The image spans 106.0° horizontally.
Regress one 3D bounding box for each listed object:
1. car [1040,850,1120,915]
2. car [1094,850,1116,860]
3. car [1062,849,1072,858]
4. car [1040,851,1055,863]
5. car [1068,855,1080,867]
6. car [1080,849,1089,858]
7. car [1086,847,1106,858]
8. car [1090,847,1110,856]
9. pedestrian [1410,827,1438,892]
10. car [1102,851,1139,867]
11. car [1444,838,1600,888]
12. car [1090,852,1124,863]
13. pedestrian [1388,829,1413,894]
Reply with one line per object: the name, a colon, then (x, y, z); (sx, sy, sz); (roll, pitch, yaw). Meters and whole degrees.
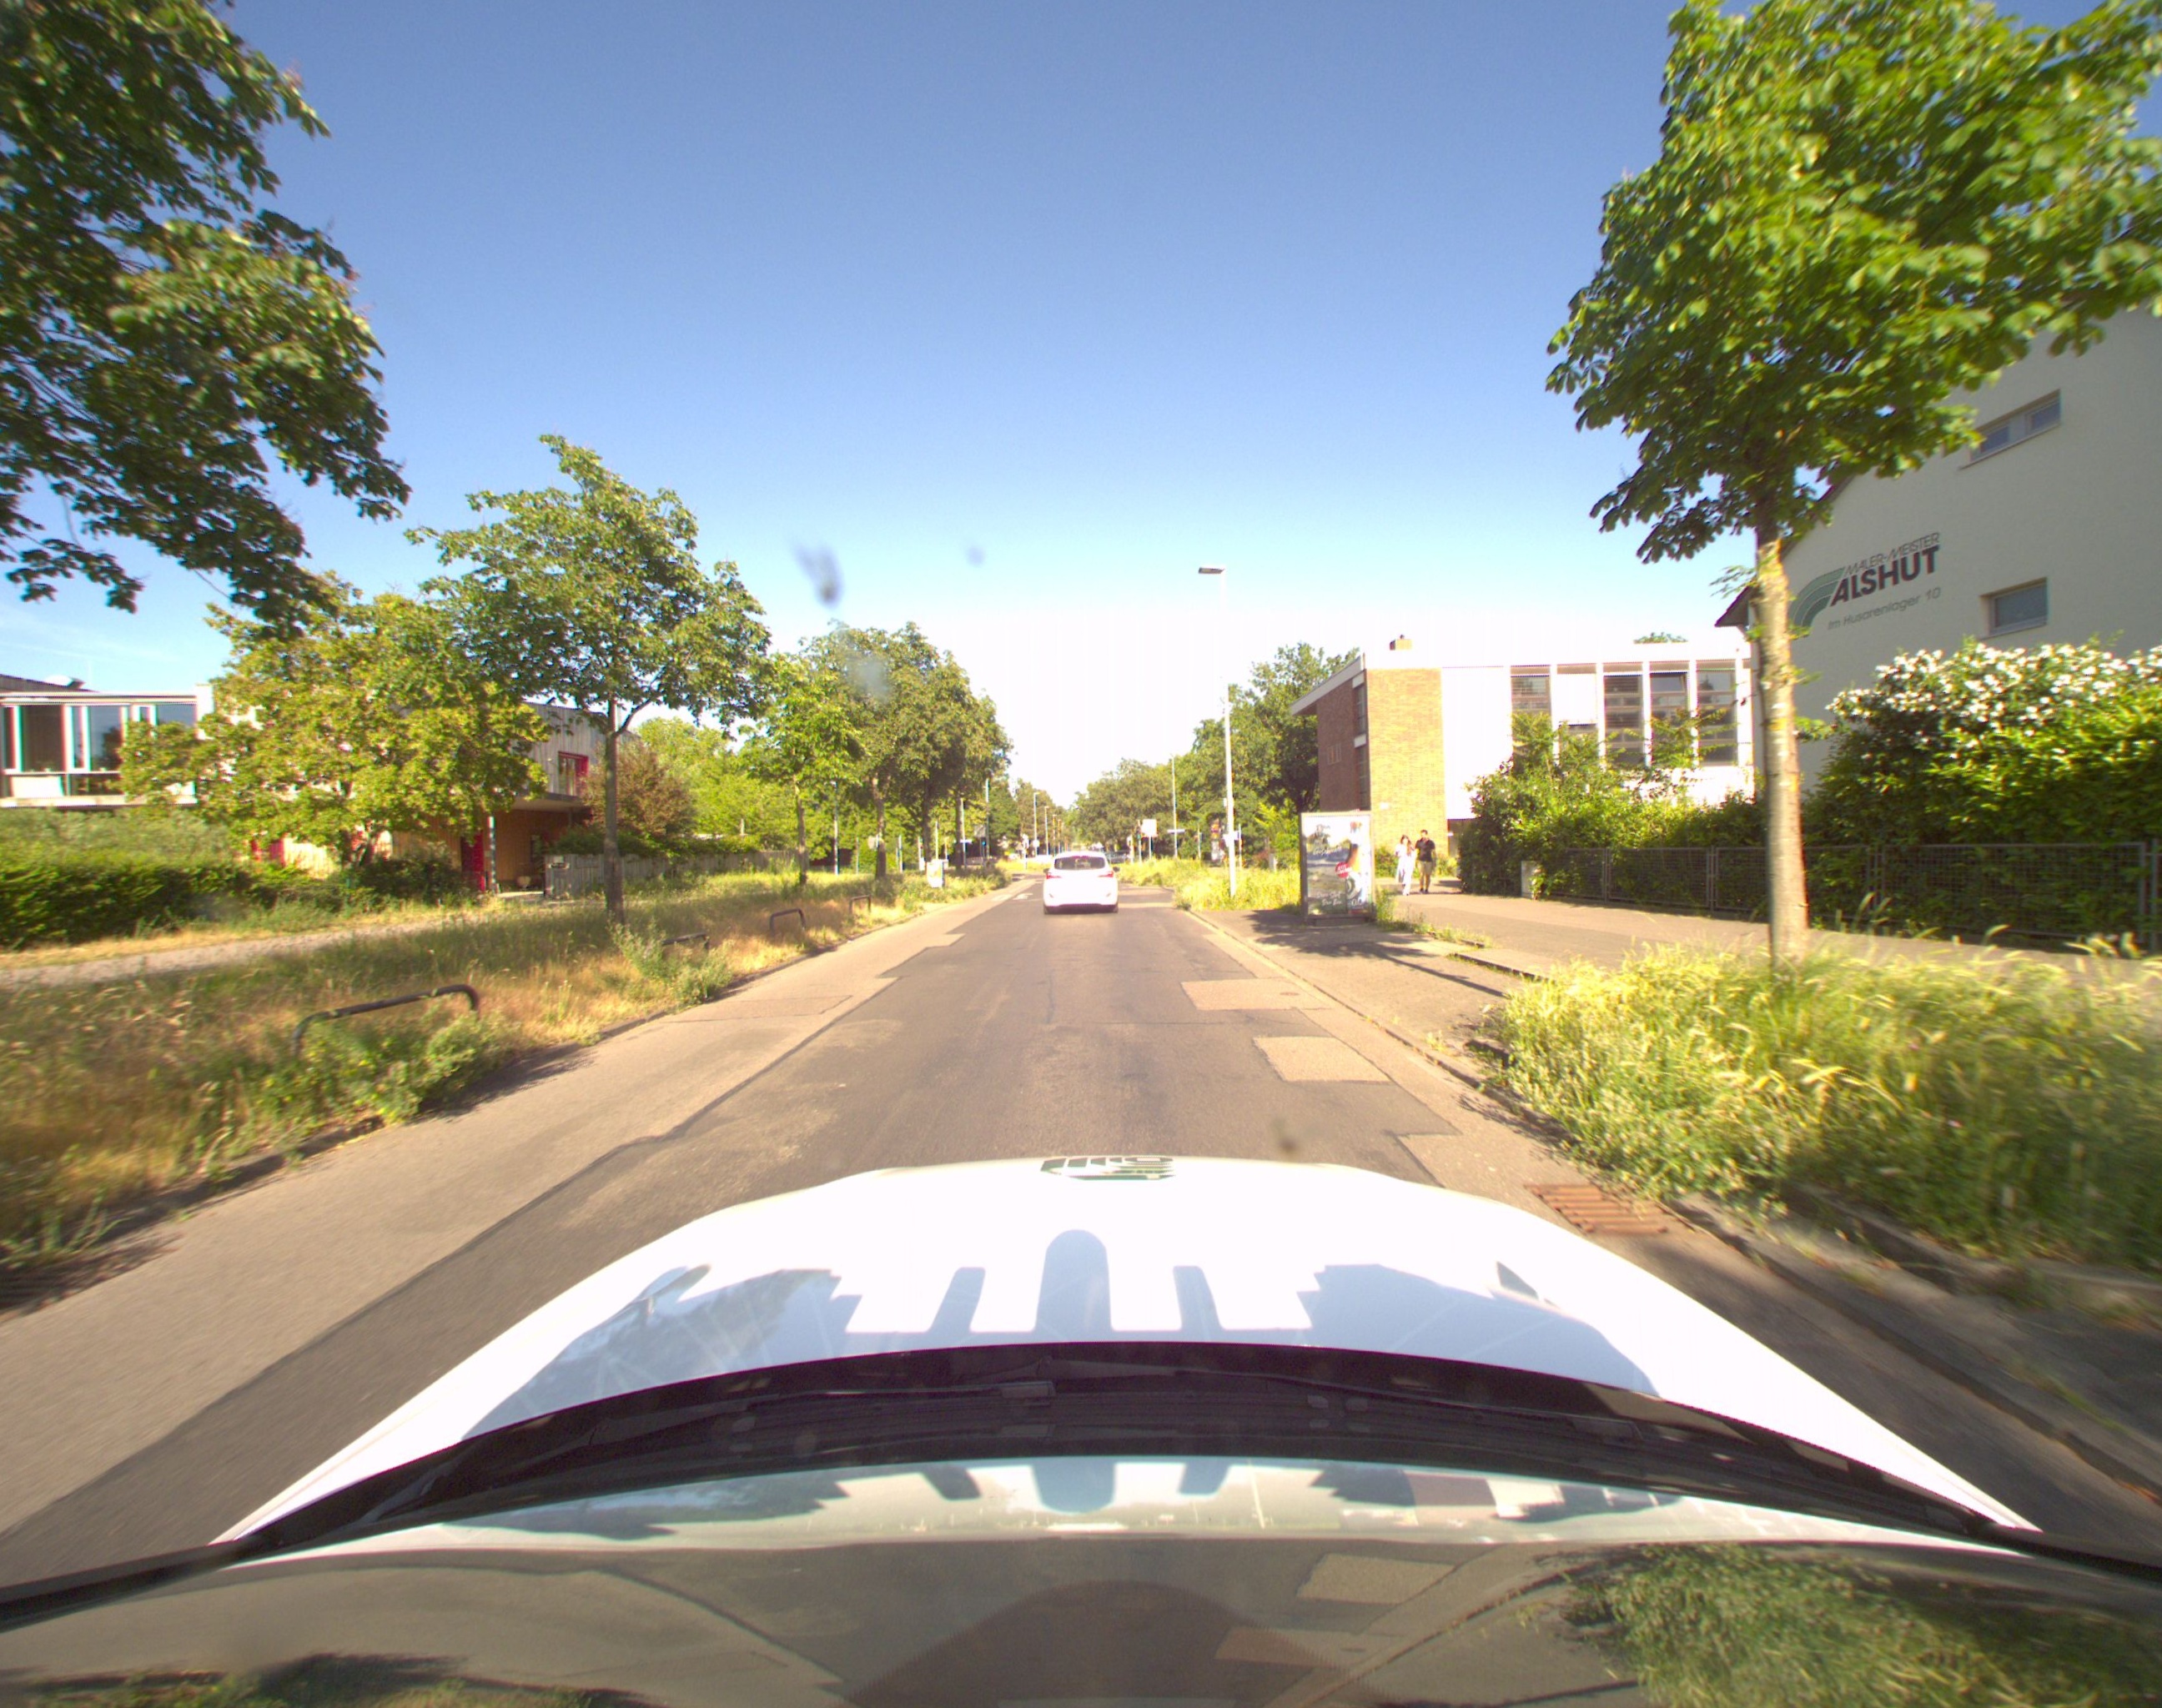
car: (-0.013, 0.642, 20.632); (1.784, 1.463, 3.963); (-1, 0, 0)
car: (4.272, 0.128, 143.081); (3.807, 1.684, 1.863); (-1, 0, 0)
car: (-3.051, -0.034, 173.378); (1.987, 1.816, 4.000); (-1, 0, 0)
car: (-5.128, 0.445, 125.115); (1.987, 1.815, 4.000); (-1, 1, 0)
car: (-1.127, 1.116, 134.127); (1.987, 1.815, 4.000); (1, 1, 0)
car: (0.698, -0.130, 179.720); (1.987, 1.816, 4.000); (-1, 0, 0)
car: (2.842, -0.313, 153.109); (3.807, 2.098, 1.863); (-1, 0, 0)
car: (4.170, -0.469, 180.437); (4.288, 1.908, 1.863); (-1, 0, 0)
pedestrian: (9.266, 0.154, 22.001); (0.601, 1.732, 0.642); (-1, -1, 16)
car: (4.931, 0.638, 101.038); (4.481, 1.783, 1.856); (-2, 0, 2)
car: (14.471, 0.266, 26.892); (4.180, 1.502, 1.806); (-2, 1, 0)
car: (4.361, 0.549, 136.498); (5.596, 1.684, 1.948); (-1, 0, 0)
pedestrian: (8.695, 0.202, 22.158); (0.550, 1.732, 0.664); (-1, -1, 16)
